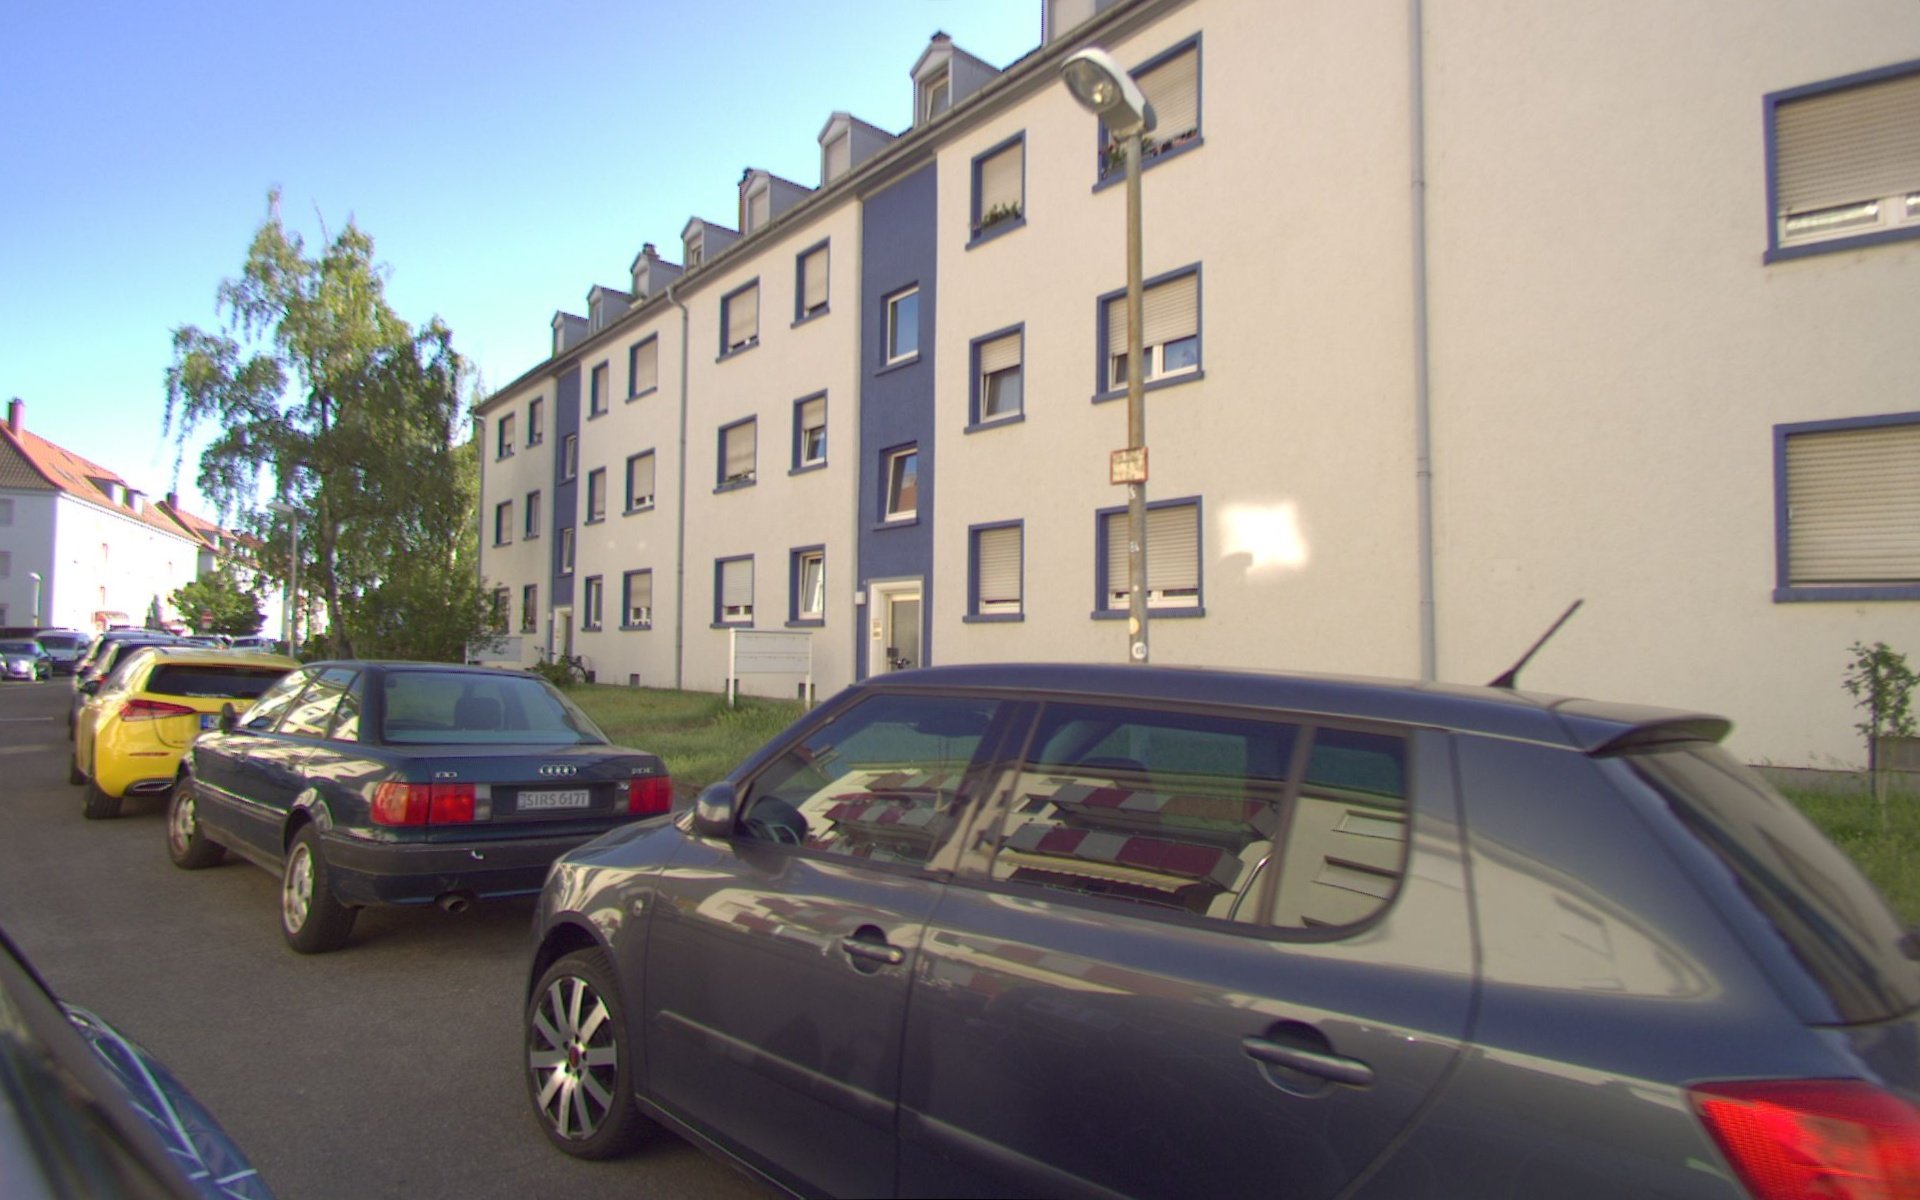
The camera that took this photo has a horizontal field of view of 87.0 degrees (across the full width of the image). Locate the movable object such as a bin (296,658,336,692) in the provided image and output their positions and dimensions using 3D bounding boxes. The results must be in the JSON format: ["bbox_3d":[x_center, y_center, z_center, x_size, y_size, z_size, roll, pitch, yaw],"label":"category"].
[{"bbox_3d":[-26.391,3.068,41.489,1.202,1.391,0.770,1,-3,-22],"label":"movable object such as a bin"}]

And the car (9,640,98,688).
[{"bbox_3d":[-37.022,2.608,41.440,1.722,1.838,4.144,4,-5,-29],"label":"car"}]

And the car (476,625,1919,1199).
[{"bbox_3d":[0.349,0.887,2.502,3.632,1.488,1.462,-2,-8,43],"label":"car"}]

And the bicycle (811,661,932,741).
[{"bbox_3d":[-1.339,1.523,15.541,1.796,1.086,0.569,0,-2,-36],"label":"bicycle"}]

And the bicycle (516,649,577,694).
[{"bbox_3d":[-10.944,1.888,26.800,1.391,1.161,0.416,5,-5,-43],"label":"bicycle"}]

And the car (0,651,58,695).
[{"bbox_3d":[-34.244,2.598,36.606,1.655,1.418,4.558,0,-2,-32],"label":"car"}]

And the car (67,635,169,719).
[{"bbox_3d":[-19.512,1.751,23.558,1.535,1.727,4.345,7,-6,-38],"label":"car"}]

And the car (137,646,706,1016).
[{"bbox_3d":[-3.460,1.059,6.095,4.260,1.476,1.552,-3,-6,41],"label":"car"}]

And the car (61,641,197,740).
[{"bbox_3d":[-15.047,1.541,18.276,1.673,1.573,4.162,3,-4,-41],"label":"car"}]

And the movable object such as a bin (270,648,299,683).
[{"bbox_3d":[-27.835,2.704,41.729,0.765,1.403,1.422,3,-4,-27],"label":"movable object such as a bin"}]

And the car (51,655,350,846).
[{"bbox_3d":[-7.291,1.249,9.549,1.674,1.400,4.159,5,-6,-44],"label":"car"}]

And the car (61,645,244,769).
[{"bbox_3d":[-11.220,1.389,13.994,1.673,1.456,4.025,6,-6,-41],"label":"car"}]

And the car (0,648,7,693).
[{"bbox_3d":[-31.118,2.269,31.124,1.655,1.458,4.737,0,-1,-31],"label":"car"}]
